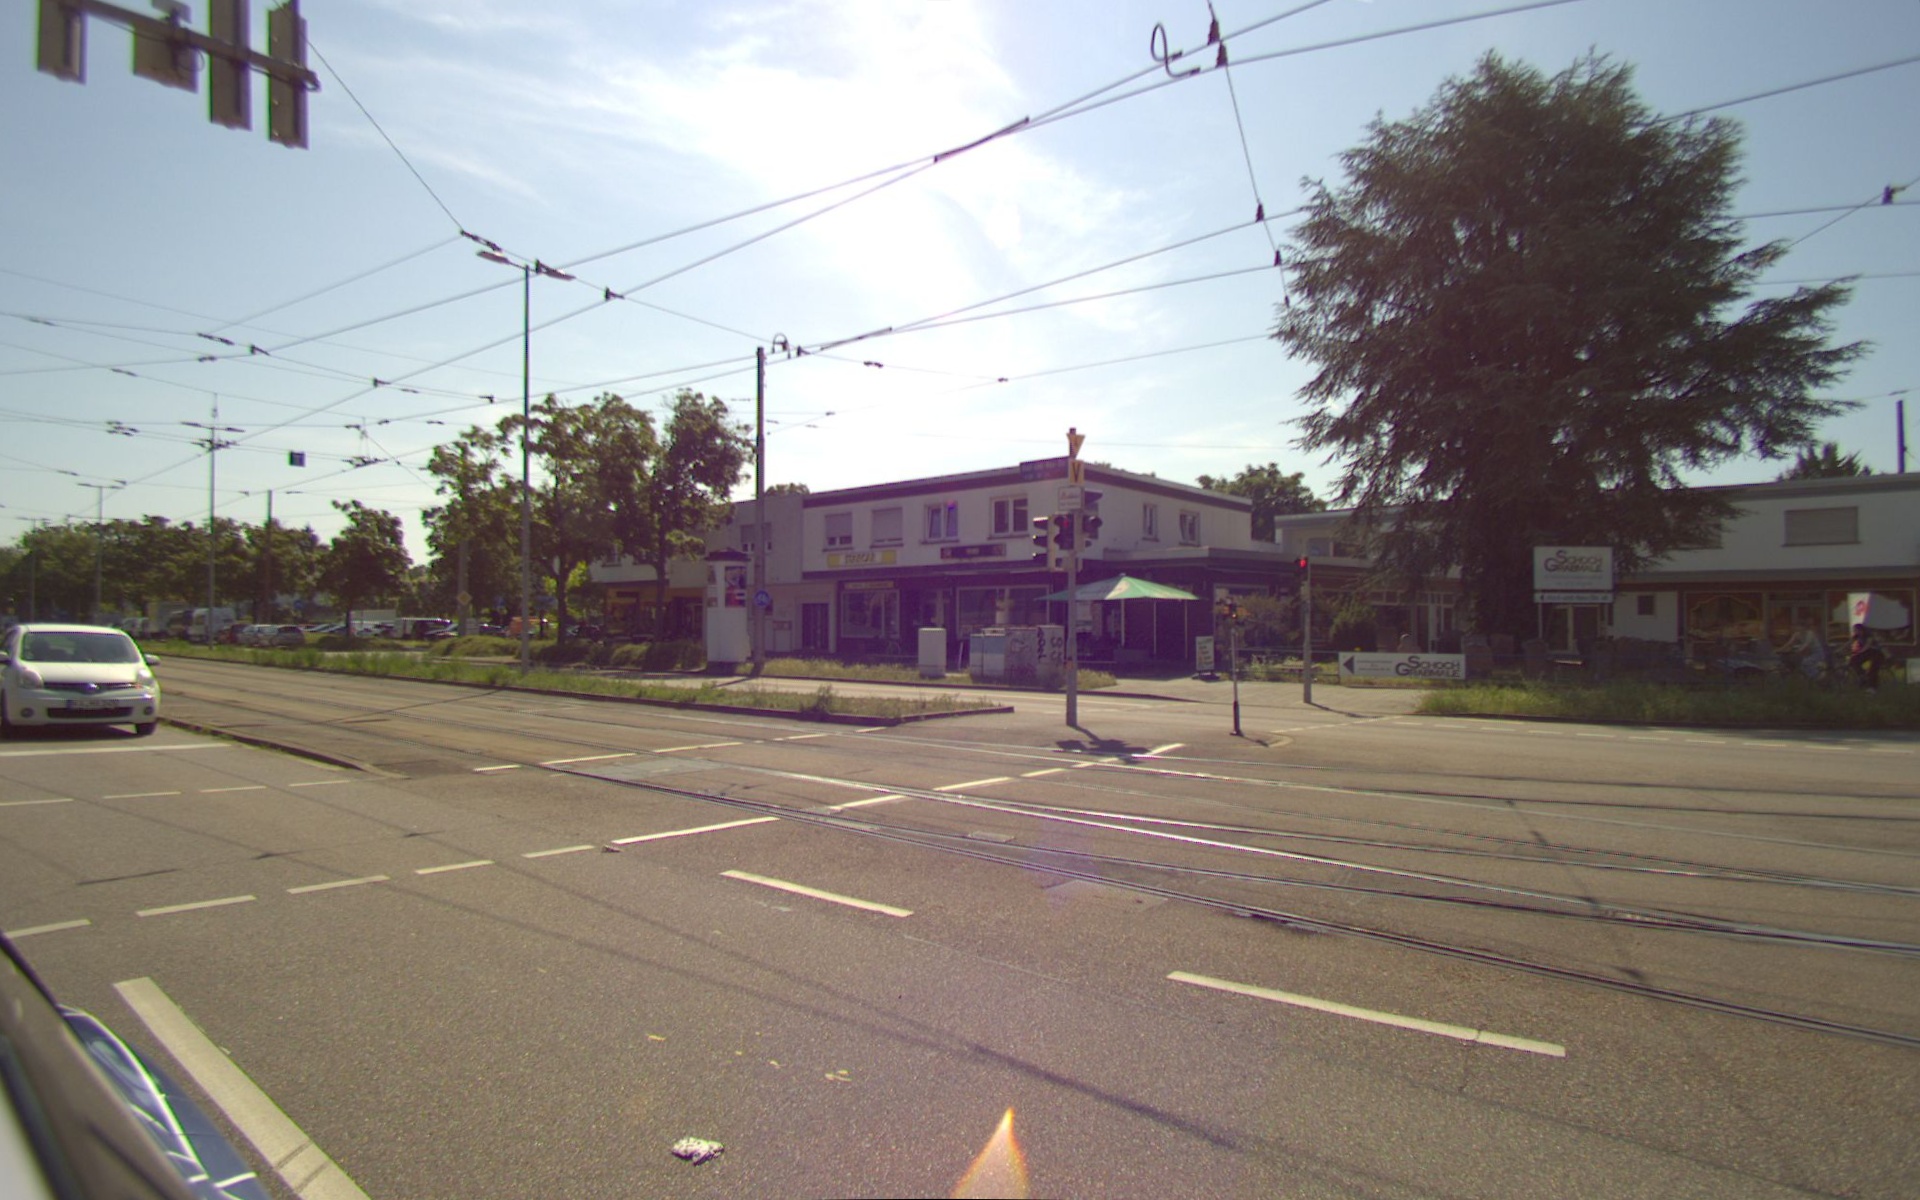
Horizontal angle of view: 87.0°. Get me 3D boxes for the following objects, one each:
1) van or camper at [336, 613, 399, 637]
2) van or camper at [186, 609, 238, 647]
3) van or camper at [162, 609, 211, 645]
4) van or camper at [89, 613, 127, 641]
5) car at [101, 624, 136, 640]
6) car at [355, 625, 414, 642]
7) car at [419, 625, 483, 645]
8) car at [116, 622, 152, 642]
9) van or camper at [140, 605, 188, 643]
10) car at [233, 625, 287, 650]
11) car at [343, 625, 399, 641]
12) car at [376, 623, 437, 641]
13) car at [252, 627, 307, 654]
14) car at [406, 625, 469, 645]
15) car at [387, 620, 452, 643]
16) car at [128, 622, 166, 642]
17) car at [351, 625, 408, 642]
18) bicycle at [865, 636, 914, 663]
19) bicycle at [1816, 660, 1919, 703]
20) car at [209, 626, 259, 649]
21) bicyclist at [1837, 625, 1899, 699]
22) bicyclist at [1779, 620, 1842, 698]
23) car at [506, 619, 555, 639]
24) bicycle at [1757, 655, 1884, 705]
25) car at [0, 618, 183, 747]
[{"bbox_3d":[-69.579,2.934,118.969,2.299,2.751,6.000,-1,-3,43],"label":"van or camper"},{"bbox_3d":[-54.144,2.031,73.242,4.837,2.652,2.013,-1,-2,41],"label":"van or camper"},{"bbox_3d":[-59.493,2.101,77.838,4.837,2.652,2.013,-1,-2,41],"label":"van or camper"},{"bbox_3d":[-85.910,2.700,101.986,5.450,2.639,2.086,-1,-3,42],"label":"van or camper"},{"bbox_3d":[-81.118,3.070,97.530,4.230,1.572,1.868,-1,-2,41],"label":"car"},{"bbox_3d":[-44.952,2.624,79.096,1.811,1.291,3.579,-1,-2,39],"label":"car"},{"bbox_3d":[-35.290,2.432,70.176,1.711,1.372,3.579,-1,-2,39],"label":"car"},{"bbox_3d":[-76.633,2.936,93.819,4.230,1.781,1.868,-1,-2,41],"label":"car"},{"bbox_3d":[-65.384,2.008,83.094,5.279,3.008,2.100,-1,-2,41],"label":"van or camper"},{"bbox_3d":[-45.889,2.464,66.325,4.283,1.572,1.868,-1,-2,41],"label":"car"},{"bbox_3d":[-48.359,2.714,83.140,1.711,1.291,3.579,-1,-2,39],"label":"car"},{"bbox_3d":[-41.041,2.406,75.046,1.711,1.294,3.579,-1,-2,39],"label":"car"},{"bbox_3d":[-42.216,2.483,62.756,4.285,1.506,1.867,-1,0,43],"label":"car"},{"bbox_3d":[-37.226,2.470,72.131,1.711,1.372,3.579,-1,-2,39],"label":"car"},{"bbox_3d":[-39.239,2.301,73.579,1.949,1.581,3.702,-1,-2,39],"label":"car"},{"bbox_3d":[-71.582,2.823,89.059,4.230,1.748,1.868,-1,-2,41],"label":"car"},{"bbox_3d":[-46.512,2.670,81.096,1.711,1.291,3.579,-1,-2,39],"label":"car"},{"bbox_3d":[-2.678,1.871,38.319,1.910,0.990,0.750,-1,-2,42],"label":"bicycle"},{"bbox_3d":[19.959,1.776,22.057,2.105,0.897,0.576,0,-2,-1],"label":"bicycle"},{"bbox_3d":[-50.174,2.589,69.965,4.230,1.506,1.868,-1,-2,41],"label":"car"},{"bbox_3d":[19.817,1.336,22.098,0.754,1.587,0.632,0,-2,-4],"label":"bicyclist"},{"bbox_3d":[17.650,1.217,21.014,0.756,1.570,0.631,1,-3,3],"label":"bicyclist"},{"bbox_3d":[-38.101,2.565,89.784,1.711,1.791,3.579,-1,-2,39],"label":"car"},{"bbox_3d":[17.808,1.649,20.975,2.108,0.954,0.535,1,-2,3],"label":"bicycle"},{"bbox_3d":[-12.647,1.086,14.398,4.065,1.573,1.747,-1,-4,42],"label":"car"}]
